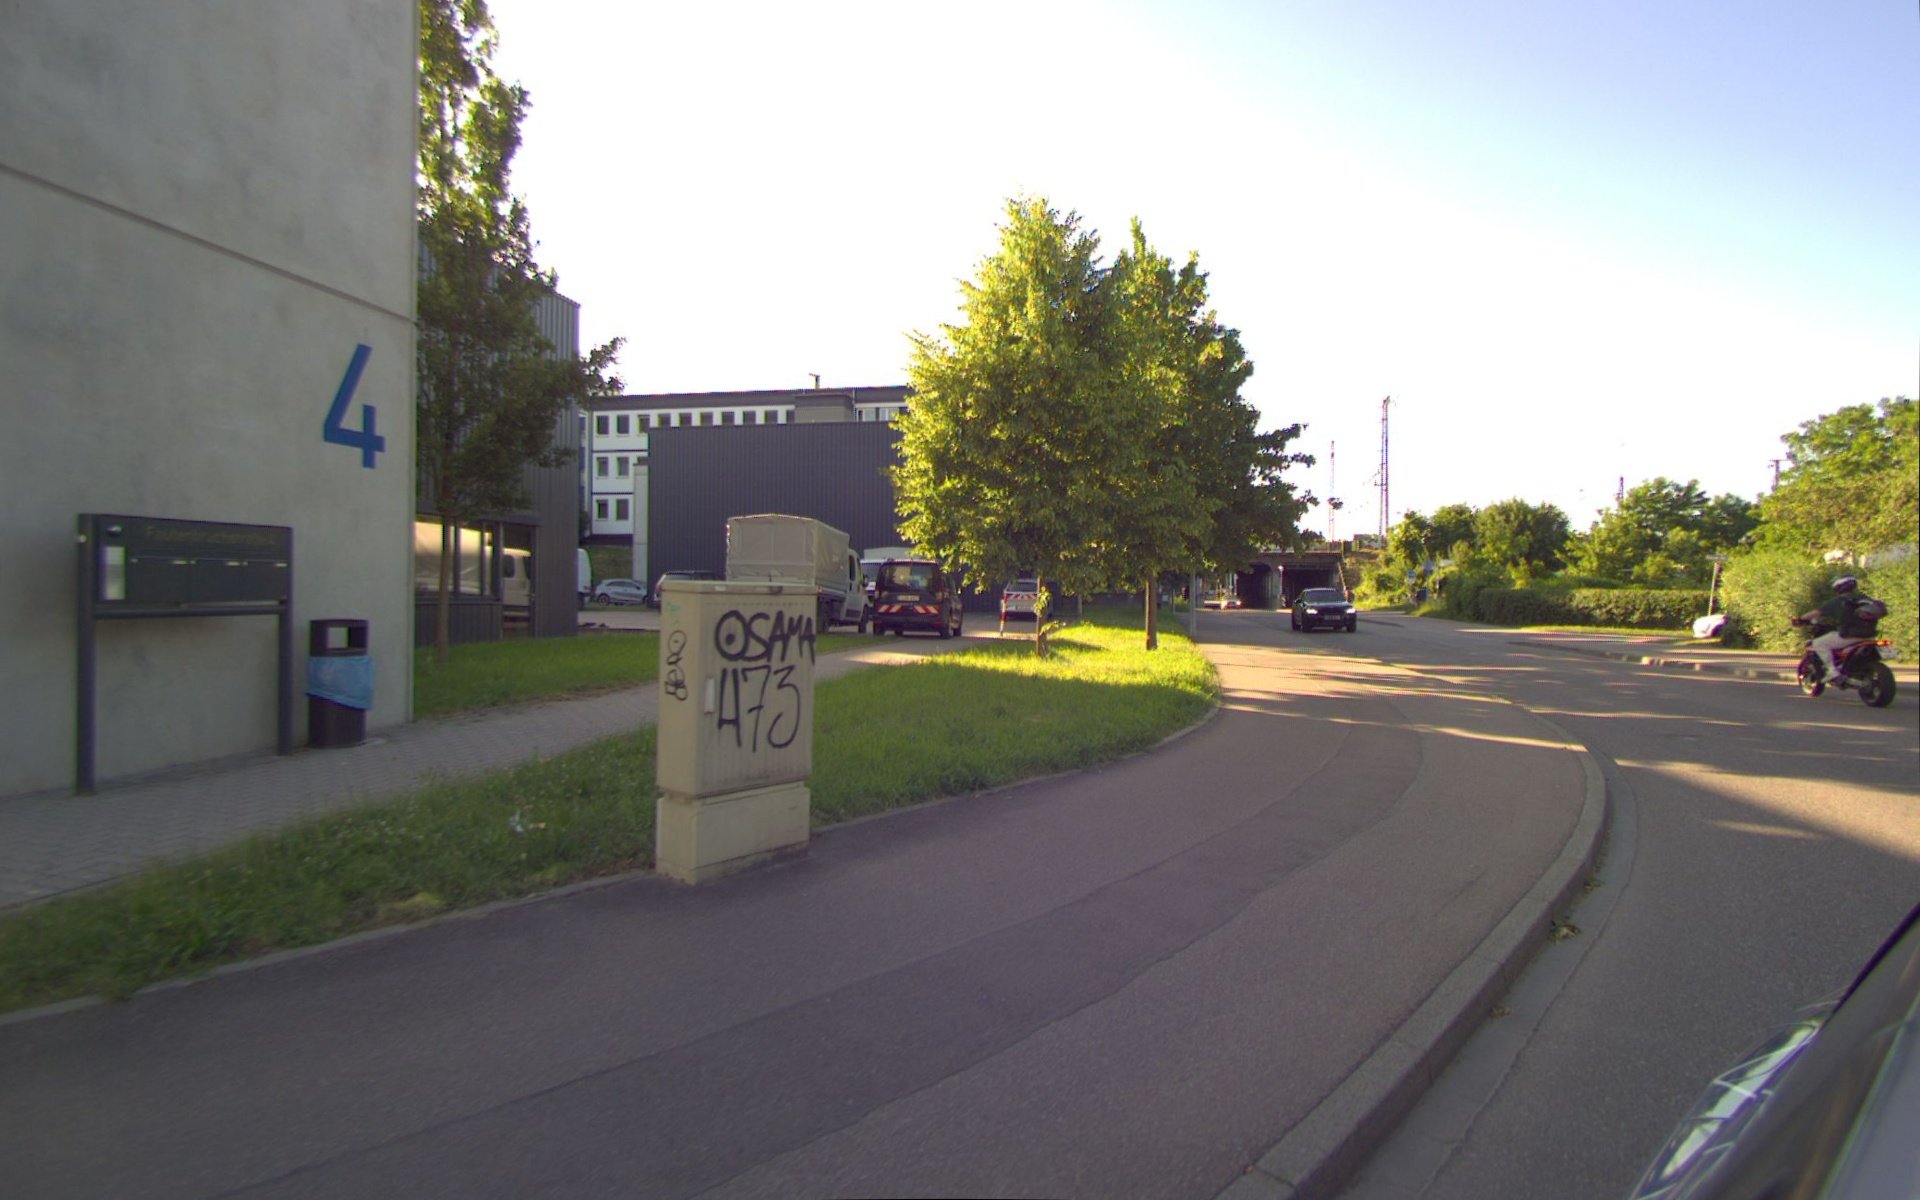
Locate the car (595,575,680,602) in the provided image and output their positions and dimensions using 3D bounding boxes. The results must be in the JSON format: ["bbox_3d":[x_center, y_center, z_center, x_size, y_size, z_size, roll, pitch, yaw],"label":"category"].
[{"bbox_3d":[-17.299,-0.622,54.380,3.932,1.438,1.929,0,1,8],"label":"car"}]

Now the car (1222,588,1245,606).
[{"bbox_3d":[25.994,-0.344,96.431,2.008,1.653,4.593,0,1,14],"label":"car"}]

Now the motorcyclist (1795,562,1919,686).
[{"bbox_3d":[12.381,0.309,13.945,0.853,1.632,1.238,0,0,11],"label":"motorcyclist"}]

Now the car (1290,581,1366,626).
[{"bbox_3d":[14.610,0.108,40.453,2.005,1.653,4.602,0,1,9],"label":"car"}]

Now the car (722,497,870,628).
[{"bbox_3d":[-3.835,-0.748,24.718,2.199,2.808,5.125,-1,-2,8],"label":"car"}]

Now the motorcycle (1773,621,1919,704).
[{"bbox_3d":[12.388,0.819,13.970,0.822,0.984,2.293,0,1,11],"label":"motorcycle"}]

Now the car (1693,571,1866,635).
[{"bbox_3d":[24.800,0.060,30.693,3.985,1.805,1.969,0,1,43],"label":"car"}]

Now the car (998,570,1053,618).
[{"bbox_3d":[2.392,-0.268,36.285,1.748,1.503,3.646,1,4,8],"label":"car"}]

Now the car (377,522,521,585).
[{"bbox_3d":[-19.963,-1.734,39.913,2.214,2.284,5.782,0,1,8],"label":"car"}]

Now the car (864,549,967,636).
[{"bbox_3d":[-0.962,-0.195,24.396,1.868,1.881,4.233,1,1,6],"label":"car"}]

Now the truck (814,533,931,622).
[{"bbox_3d":[-2.814,-0.721,34.585,2.536,2.725,6.401,0,0,9],"label":"truck"}]

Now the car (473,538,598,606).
[{"bbox_3d":[-17.019,-1.088,40.945,2.022,2.520,5.818,0,1,8],"label":"car"}]

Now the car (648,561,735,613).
[{"bbox_3d":[-10.101,-0.551,38.291,1.749,1.747,3.761,1,4,11],"label":"car"}]
